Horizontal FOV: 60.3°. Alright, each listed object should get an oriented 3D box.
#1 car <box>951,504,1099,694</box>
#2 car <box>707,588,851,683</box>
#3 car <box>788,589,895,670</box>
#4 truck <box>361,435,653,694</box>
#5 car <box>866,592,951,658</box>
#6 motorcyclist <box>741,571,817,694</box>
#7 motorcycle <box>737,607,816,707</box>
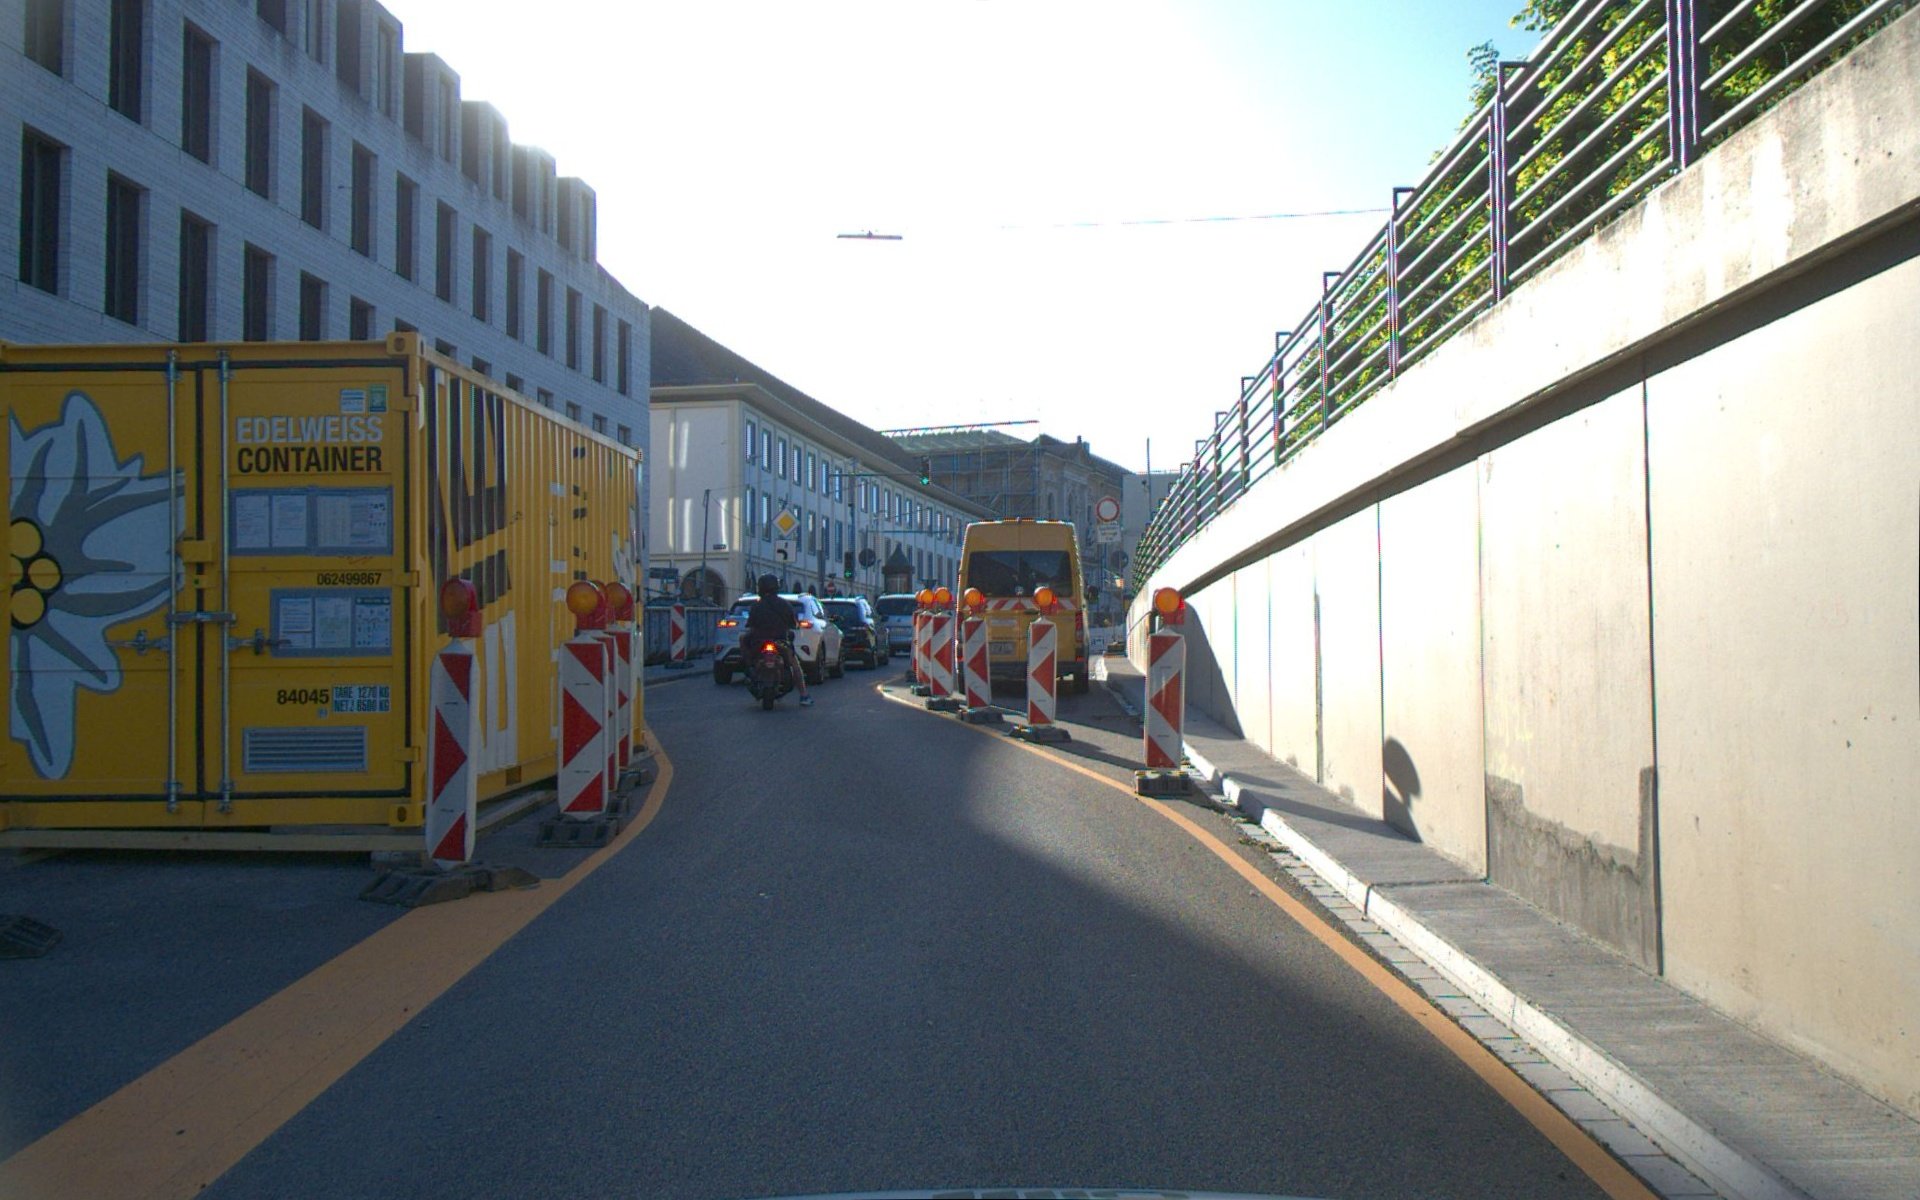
[{"bbox_3d":[1.098,0.009,26.918,2.068,2.670,6.989,-1,0,3],"label":"car"},{"bbox_3d":[-3.043,0.575,28.536,1.820,1.498,4.001,1,0,3],"label":"car"},{"bbox_3d":[-2.422,0.649,34.772,1.737,1.577,4.107,-1,-2,3],"label":"car"},{"bbox_3d":[-7.086,-0.507,26.783,2.525,3.550,5.819,-4,0,4],"label":"truck"},{"bbox_3d":[-1.392,0.666,46.220,1.765,1.751,4.166,0,0,7],"label":"car"},{"bbox_3d":[-2.386,0.414,21.963,0.935,1.587,1.238,0,0,-3],"label":"motorcyclist"},{"bbox_3d":[-2.407,0.720,21.999,0.888,1.204,2.577,0,0,-3],"label":"motorcycle"}]
